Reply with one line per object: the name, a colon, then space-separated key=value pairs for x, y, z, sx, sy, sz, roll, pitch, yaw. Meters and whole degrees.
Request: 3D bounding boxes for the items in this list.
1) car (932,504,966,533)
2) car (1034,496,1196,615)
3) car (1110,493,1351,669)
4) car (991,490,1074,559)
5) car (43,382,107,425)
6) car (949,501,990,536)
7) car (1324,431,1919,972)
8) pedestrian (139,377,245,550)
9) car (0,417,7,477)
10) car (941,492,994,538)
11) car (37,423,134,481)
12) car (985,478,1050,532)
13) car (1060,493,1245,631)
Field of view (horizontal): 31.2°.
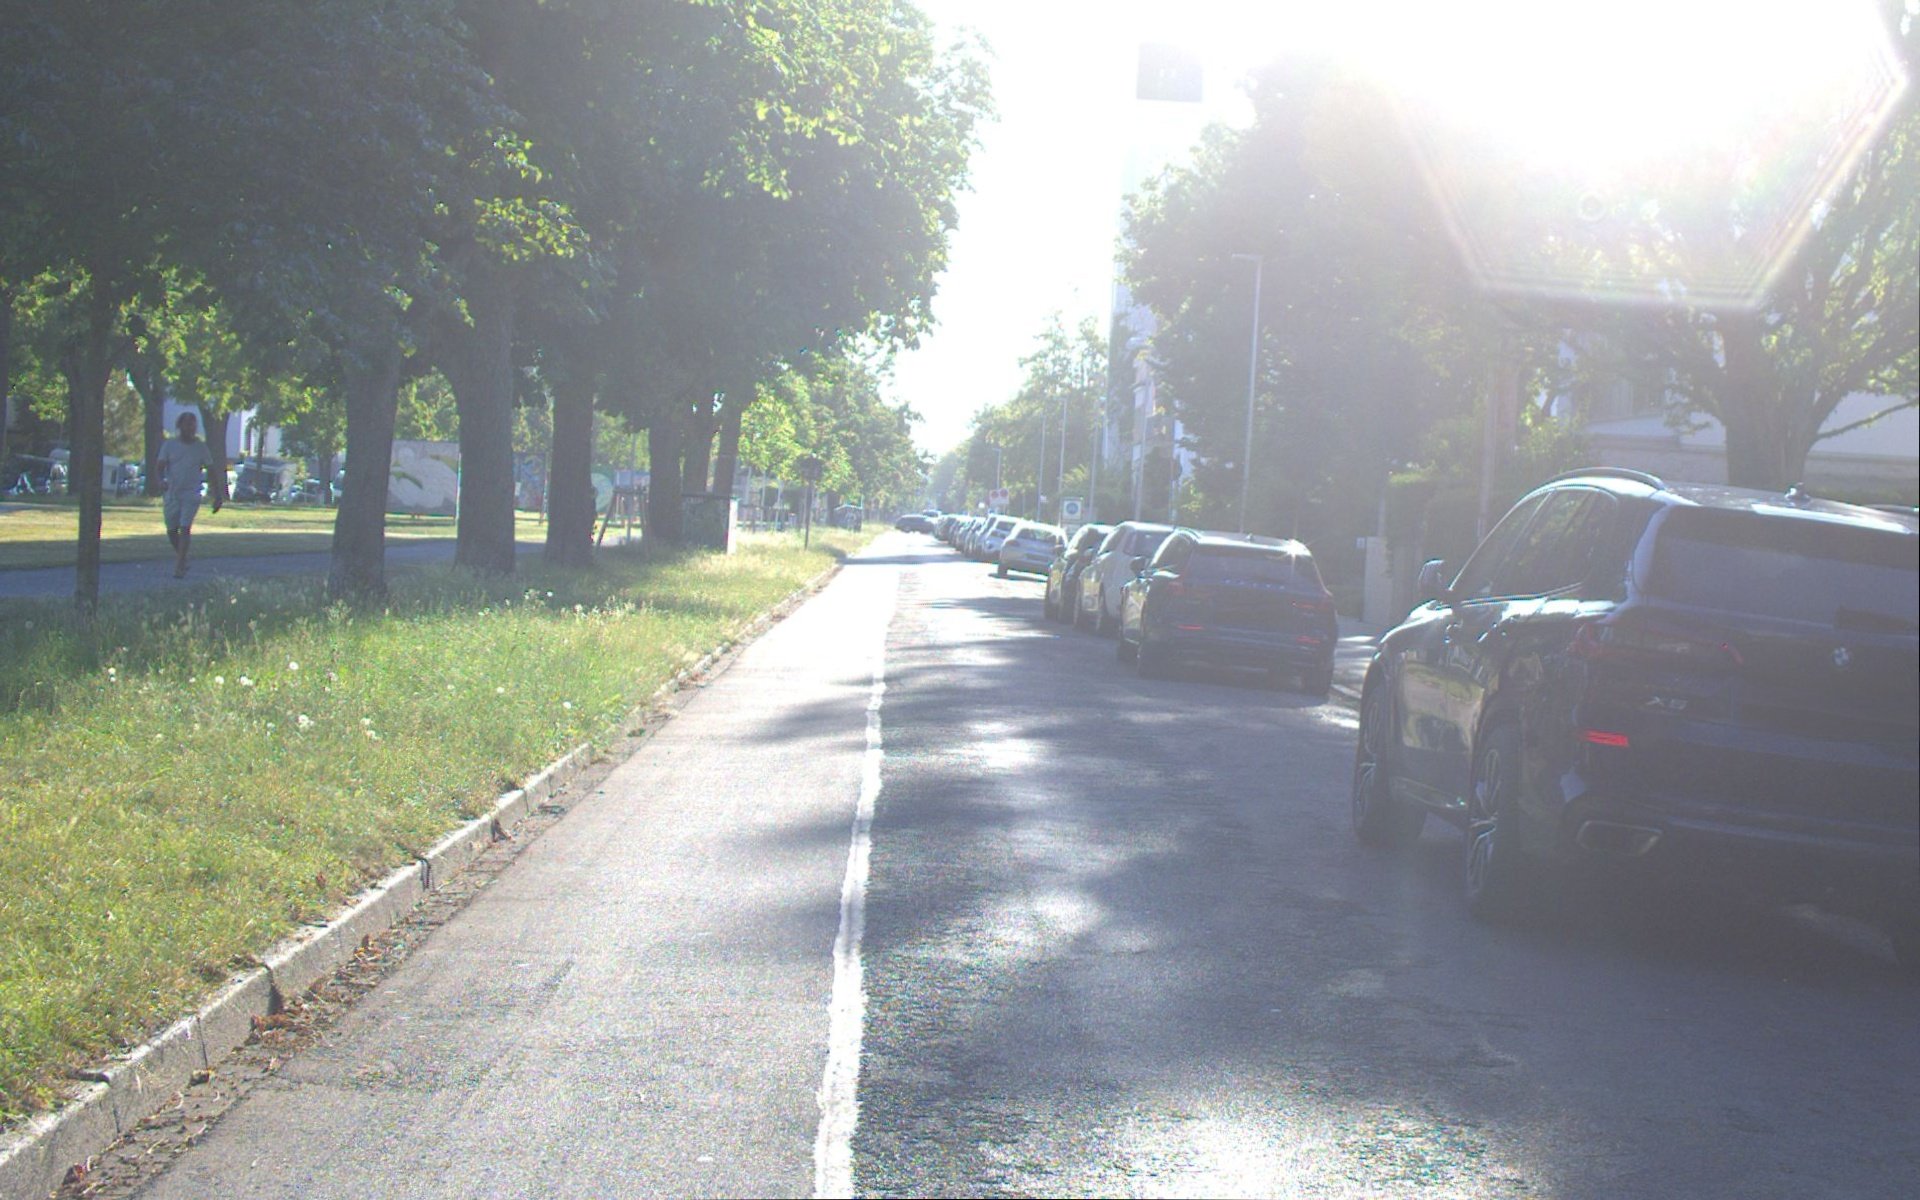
car: x=-0.683 y=-5.026 z=211.694 sx=1.980 sy=1.677 sz=4.000 roll=3 pitch=1 yaw=0
car: x=2.179 y=-0.678 z=49.336 sx=1.748 sy=1.471 sz=4.289 roll=5 pitch=2 yaw=-4
car: x=2.588 y=-0.222 z=33.884 sx=1.793 sy=1.487 sz=4.675 roll=4 pitch=1 yaw=-1
car: x=1.799 y=-1.906 z=86.560 sx=1.757 sy=1.415 sz=4.072 roll=9 pitch=1 yaw=-1
car: x=-42.863 y=-9.498 z=166.589 sx=1.993 sy=2.006 sz=4.486 roll=2 pitch=3 yaw=-2
car: x=0.497 y=-4.203 z=177.180 sx=1.993 sy=1.624 sz=4.000 roll=3 pitch=1 yaw=0
car: x=2.949 y=0.313 z=14.337 sx=1.993 sy=1.731 sz=4.865 roll=6 pitch=1 yaw=-2
pedestrian: x=-8.056 y=-1.426 z=36.090 sx=0.724 sy=1.751 sz=0.993 roll=4 pitch=2 yaw=6
car: x=-35.677 y=-5.549 z=123.316 sx=1.685 sy=2.168 sz=4.315 roll=4 pitch=2 yaw=0
car: x=0.266 y=-3.241 z=130.408 sx=1.758 sy=1.599 sz=4.359 roll=3 pitch=2 yaw=-2
car: x=-36.010 y=-6.083 z=141.727 sx=2.534 sy=2.228 sz=5.459 roll=3 pitch=2 yaw=0
car: x=1.829 y=-3.053 z=110.078 sx=1.758 sy=1.599 sz=4.359 roll=3 pitch=2 yaw=-2
car: x=2.428 y=-0.528 z=44.329 sx=1.691 sy=1.478 sz=3.930 roll=7 pitch=1 yaw=-5
